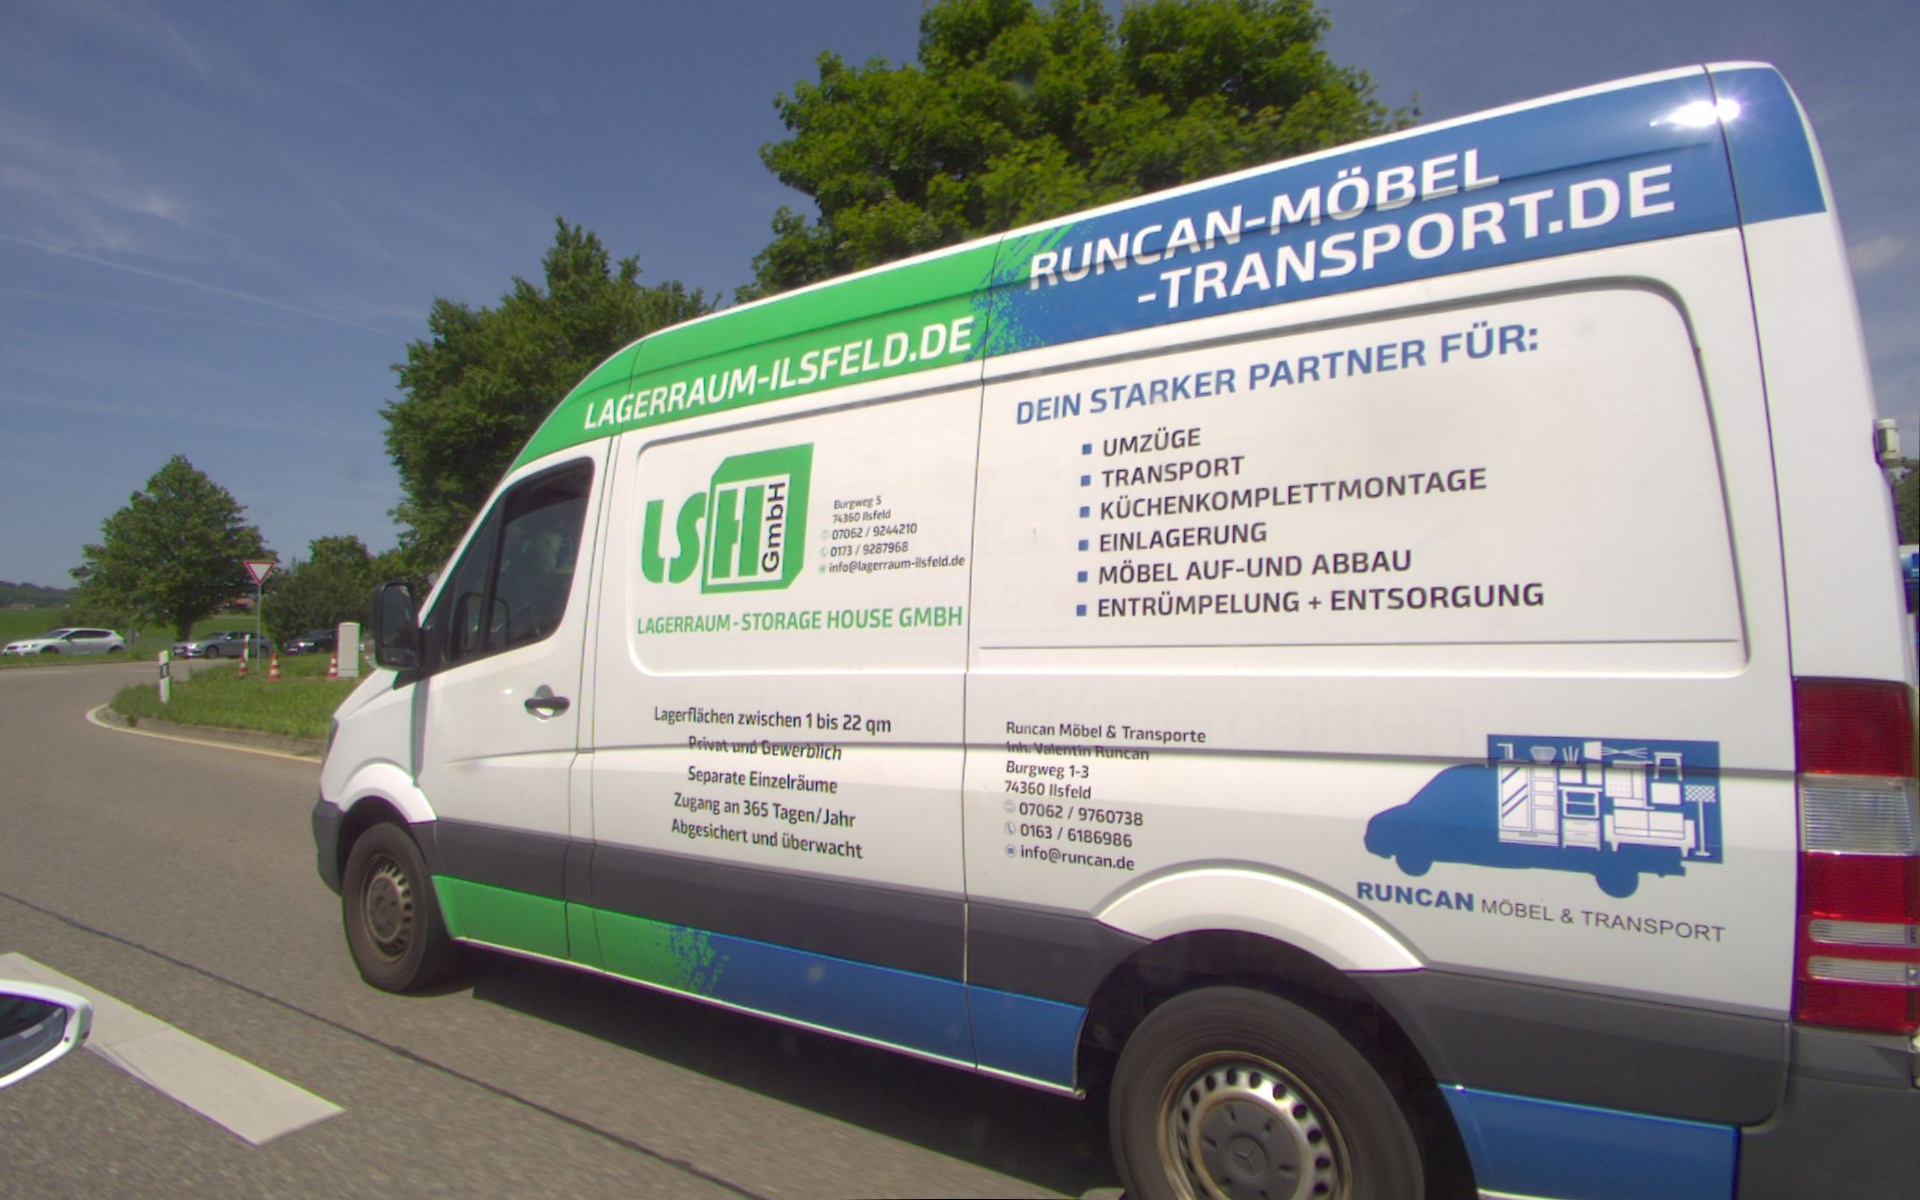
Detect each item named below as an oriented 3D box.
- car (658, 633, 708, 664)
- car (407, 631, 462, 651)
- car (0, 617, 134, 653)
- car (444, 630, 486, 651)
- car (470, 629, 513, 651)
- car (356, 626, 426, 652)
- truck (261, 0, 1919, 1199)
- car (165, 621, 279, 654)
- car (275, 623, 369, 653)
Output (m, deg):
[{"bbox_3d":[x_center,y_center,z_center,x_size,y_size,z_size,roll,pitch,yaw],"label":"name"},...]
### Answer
[{"bbox_3d":[-13.217,2.305,47.591,1.731,1.380,4.309,0,-2,-23],"label":"car"},{"bbox_3d":[-35.917,2.826,68.529,1.766,1.289,4.563,-1,-2,-6],"label":"car"},{"bbox_3d":[-38.017,1.482,42.704,1.767,1.437,4.104,-1,-2,13],"label":"car"},{"bbox_3d":[-36.940,3.028,74.764,1.767,1.529,4.231,0,-2,-11],"label":"car"},{"bbox_3d":[-37.566,3.215,80.313,1.962,1.719,4.292,0,-2,-8],"label":"car"},{"bbox_3d":[-34.985,2.433,61.712,1.766,1.529,4.564,-1,-2,-2],"label":"car"},{"bbox_3d":[-0.162,0.193,3.819,5.859,2.772,2.062,-1,-1,33],"label":"truck"},{"bbox_3d":[-36.194,1.862,49.284,1.767,1.529,4.563,-1,-3,10],"label":"car"},{"bbox_3d":[-35.031,2.136,55.122,1.766,1.528,4.564,-1,-3,9],"label":"car"}]
